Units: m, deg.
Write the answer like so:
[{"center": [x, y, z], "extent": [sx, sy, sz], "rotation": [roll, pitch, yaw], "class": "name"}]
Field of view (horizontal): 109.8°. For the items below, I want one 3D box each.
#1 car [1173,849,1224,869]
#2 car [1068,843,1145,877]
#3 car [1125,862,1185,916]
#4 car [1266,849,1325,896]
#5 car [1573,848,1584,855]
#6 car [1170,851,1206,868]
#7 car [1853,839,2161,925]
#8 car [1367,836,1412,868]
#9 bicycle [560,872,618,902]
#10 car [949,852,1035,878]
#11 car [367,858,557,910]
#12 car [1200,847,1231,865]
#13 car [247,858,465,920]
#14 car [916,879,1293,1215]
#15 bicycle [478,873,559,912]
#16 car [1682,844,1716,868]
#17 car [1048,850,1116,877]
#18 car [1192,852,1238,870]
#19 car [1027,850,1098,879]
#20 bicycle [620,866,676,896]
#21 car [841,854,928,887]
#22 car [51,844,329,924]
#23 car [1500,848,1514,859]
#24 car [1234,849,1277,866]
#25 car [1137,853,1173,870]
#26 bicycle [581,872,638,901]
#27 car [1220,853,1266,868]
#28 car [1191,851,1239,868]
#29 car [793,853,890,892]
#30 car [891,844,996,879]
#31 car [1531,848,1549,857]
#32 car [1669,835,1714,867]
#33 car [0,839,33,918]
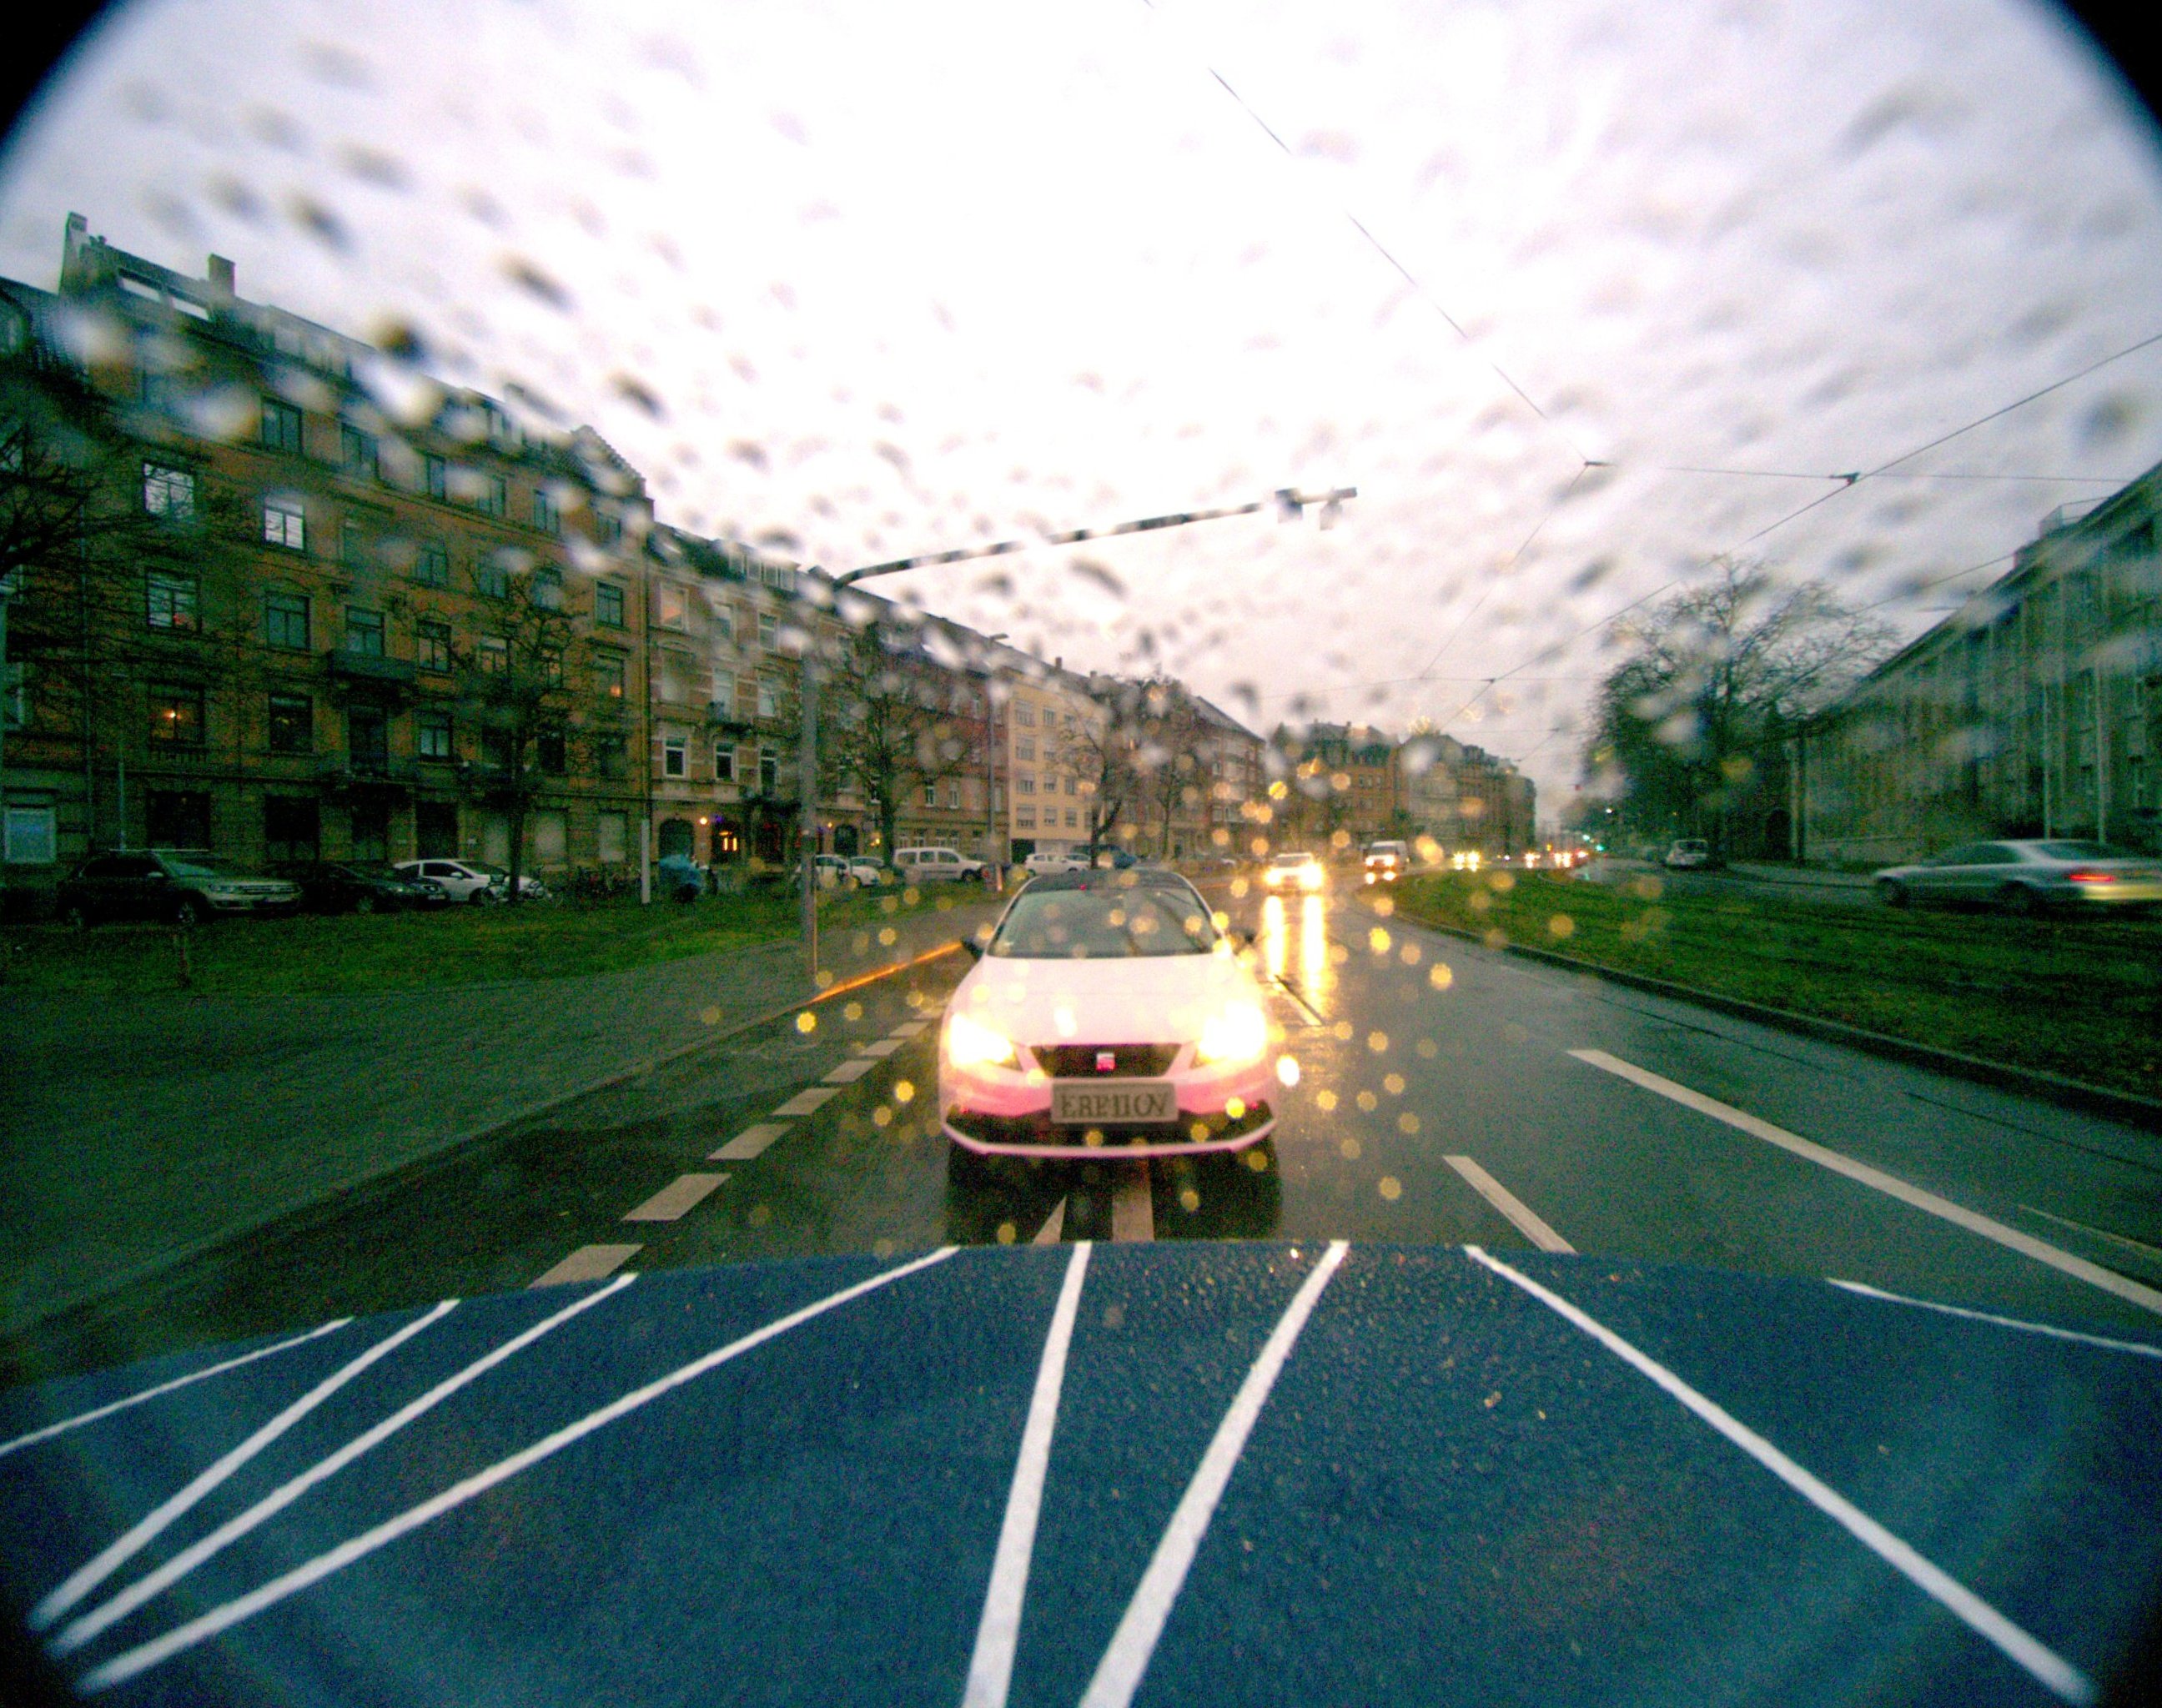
[{"center": [9.219, 0.382, 59.824], "extent": [3.869, 1.397, 1.695], "rotation": [-3, 0, 6], "class": "car"}, {"center": [1.575, 0.374, 48.551], "extent": [4.720, 1.971, 1.799], "rotation": [-2, 0, -2], "class": "car"}, {"center": [2.094, 0.955, 21.873], "extent": [1.589, 1.418, 3.135], "rotation": [-1, 0, 4], "class": "car"}, {"center": [8.564, 0.692, 30.135], "extent": [1.672, 1.650, 4.154], "rotation": [-3, 0, 23], "class": "car"}, {"center": [136.734, -0.792, 208.752], "extent": [1.948, 1.804, 4.008], "rotation": [0, 0, 43], "class": "car"}, {"center": [10.696, 0.543, 75.677], "extent": [1.690, 1.534, 4.008], "rotation": [-3, 0, 38], "class": "car"}, {"center": [19.026, 0.489, 15.678], "extent": [1.824, 1.426, 4.658], "rotation": [-3, 0, 8], "class": "car"}, {"center": [24.737, -0.223, 60.832], "extent": [2.125, 2.366, 5.649], "rotation": [-3, 0, 34], "class": "car"}, {"center": [-16.124, 1.085, 24.878], "extent": [2.165, 0.960, 0.627], "rotation": [-2, -2, 28], "class": "bicycle"}, {"center": [-4.519, 0.558, 38.786], "extent": [4.058, 1.227, 1.771], "rotation": [1, -1, 6], "class": "car"}, {"center": [-17.163, 0.814, 21.202], "extent": [3.856, 1.329, 1.698], "rotation": [-1, 0, -1], "class": "car"}, {"center": [14.251, 0.178, 80.307], "extent": [1.670, 1.693, 3.472], "rotation": [-3, 0, 40], "class": "car"}, {"center": [-17.924, 0.848, 18.918], "extent": [3.742, 1.346, 1.677], "rotation": [-2, -1, -2], "class": "car"}, {"center": [0.133, 0.974, 5.435], "extent": [1.715, 1.404, 3.679], "rotation": [-3, 0, 1], "class": "car"}, {"center": [-14.441, 0.982, 19.560], "extent": [1.655, 0.931, 0.513], "rotation": [0, 0, -35], "class": "bicycle"}, {"center": [39.385, 0.114, 48.467], "extent": [1.557, 1.420, 2.960], "rotation": [-1, 1, 36], "class": "car"}, {"center": [0.043, 0.577, 45.761], "extent": [3.998, 1.406, 1.641], "rotation": [-3, 0, -2], "class": "car"}, {"center": [11.270, 0.604, 63.816], "extent": [3.760, 1.324, 1.603], "rotation": [-3, 0, 11], "class": "car"}, {"center": [-1.035, 0.582, 43.715], "extent": [3.770, 1.424, 1.762], "rotation": [-3, 0, 9], "class": "car"}, {"center": [-15.057, 0.923, 26.388], "extent": [2.165, 0.960, 0.627], "rotation": [0, 1, 28], "class": "bicycle"}, {"center": [-8.786, 0.734, 34.129], "extent": [3.430, 1.343, 1.664], "rotation": [-1, 0, 2], "class": "car"}, {"center": [-19.501, 0.597, 16.766], "extent": [3.996, 1.627, 1.944], "rotation": [0, 1, 4], "class": "car"}, {"center": [67.649, -0.062, 120.701], "extent": [1.719, 1.608, 3.946], "rotation": [-1, 0, 32], "class": "car"}, {"center": [15.898, 0.313, 69.309], "extent": [3.760, 1.346, 1.603], "rotation": [-3, 0, 11], "class": "car"}, {"center": [6.911, 0.657, 70.541], "extent": [1.470, 1.534, 3.880], "rotation": [0, 1, 38], "class": "car"}, {"center": [-15.804, 1.098, 25.470], "extent": [2.165, 0.960, 0.627], "rotation": [-2, -2, 28], "class": "bicycle"}, {"center": [13.942, 0.538, 65.602], "extent": [3.762, 1.271, 1.602], "rotation": [-1, 0, 5], "class": "car"}, {"center": [10.987, 0.426, 62.260], "extent": [3.760, 1.325, 1.603], "rotation": [0, 1, 11], "class": "car"}, {"center": [-9.970, 0.759, 31.740], "extent": [3.462, 1.434, 1.615], "rotation": [-2, 0, 6], "class": "car"}, {"center": [-6.555, 0.353, 36.489], "extent": [4.659, 1.583, 1.778], "rotation": [1, 1, 3], "class": "car"}, {"center": [74.306, -0.209, 123.030], "extent": [1.892, 1.405, 3.955], "rotation": [0, 0, 41], "class": "car"}, {"center": [41.897, -0.233, 52.243], "extent": [1.995, 2.002, 4.518], "rotation": [-3, 0, 35], "class": "car"}, {"center": [-29.145, 0.625, 17.962], "extent": [1.994, 2.002, 4.997], "rotation": [1, 1, 33], "class": "car"}]
